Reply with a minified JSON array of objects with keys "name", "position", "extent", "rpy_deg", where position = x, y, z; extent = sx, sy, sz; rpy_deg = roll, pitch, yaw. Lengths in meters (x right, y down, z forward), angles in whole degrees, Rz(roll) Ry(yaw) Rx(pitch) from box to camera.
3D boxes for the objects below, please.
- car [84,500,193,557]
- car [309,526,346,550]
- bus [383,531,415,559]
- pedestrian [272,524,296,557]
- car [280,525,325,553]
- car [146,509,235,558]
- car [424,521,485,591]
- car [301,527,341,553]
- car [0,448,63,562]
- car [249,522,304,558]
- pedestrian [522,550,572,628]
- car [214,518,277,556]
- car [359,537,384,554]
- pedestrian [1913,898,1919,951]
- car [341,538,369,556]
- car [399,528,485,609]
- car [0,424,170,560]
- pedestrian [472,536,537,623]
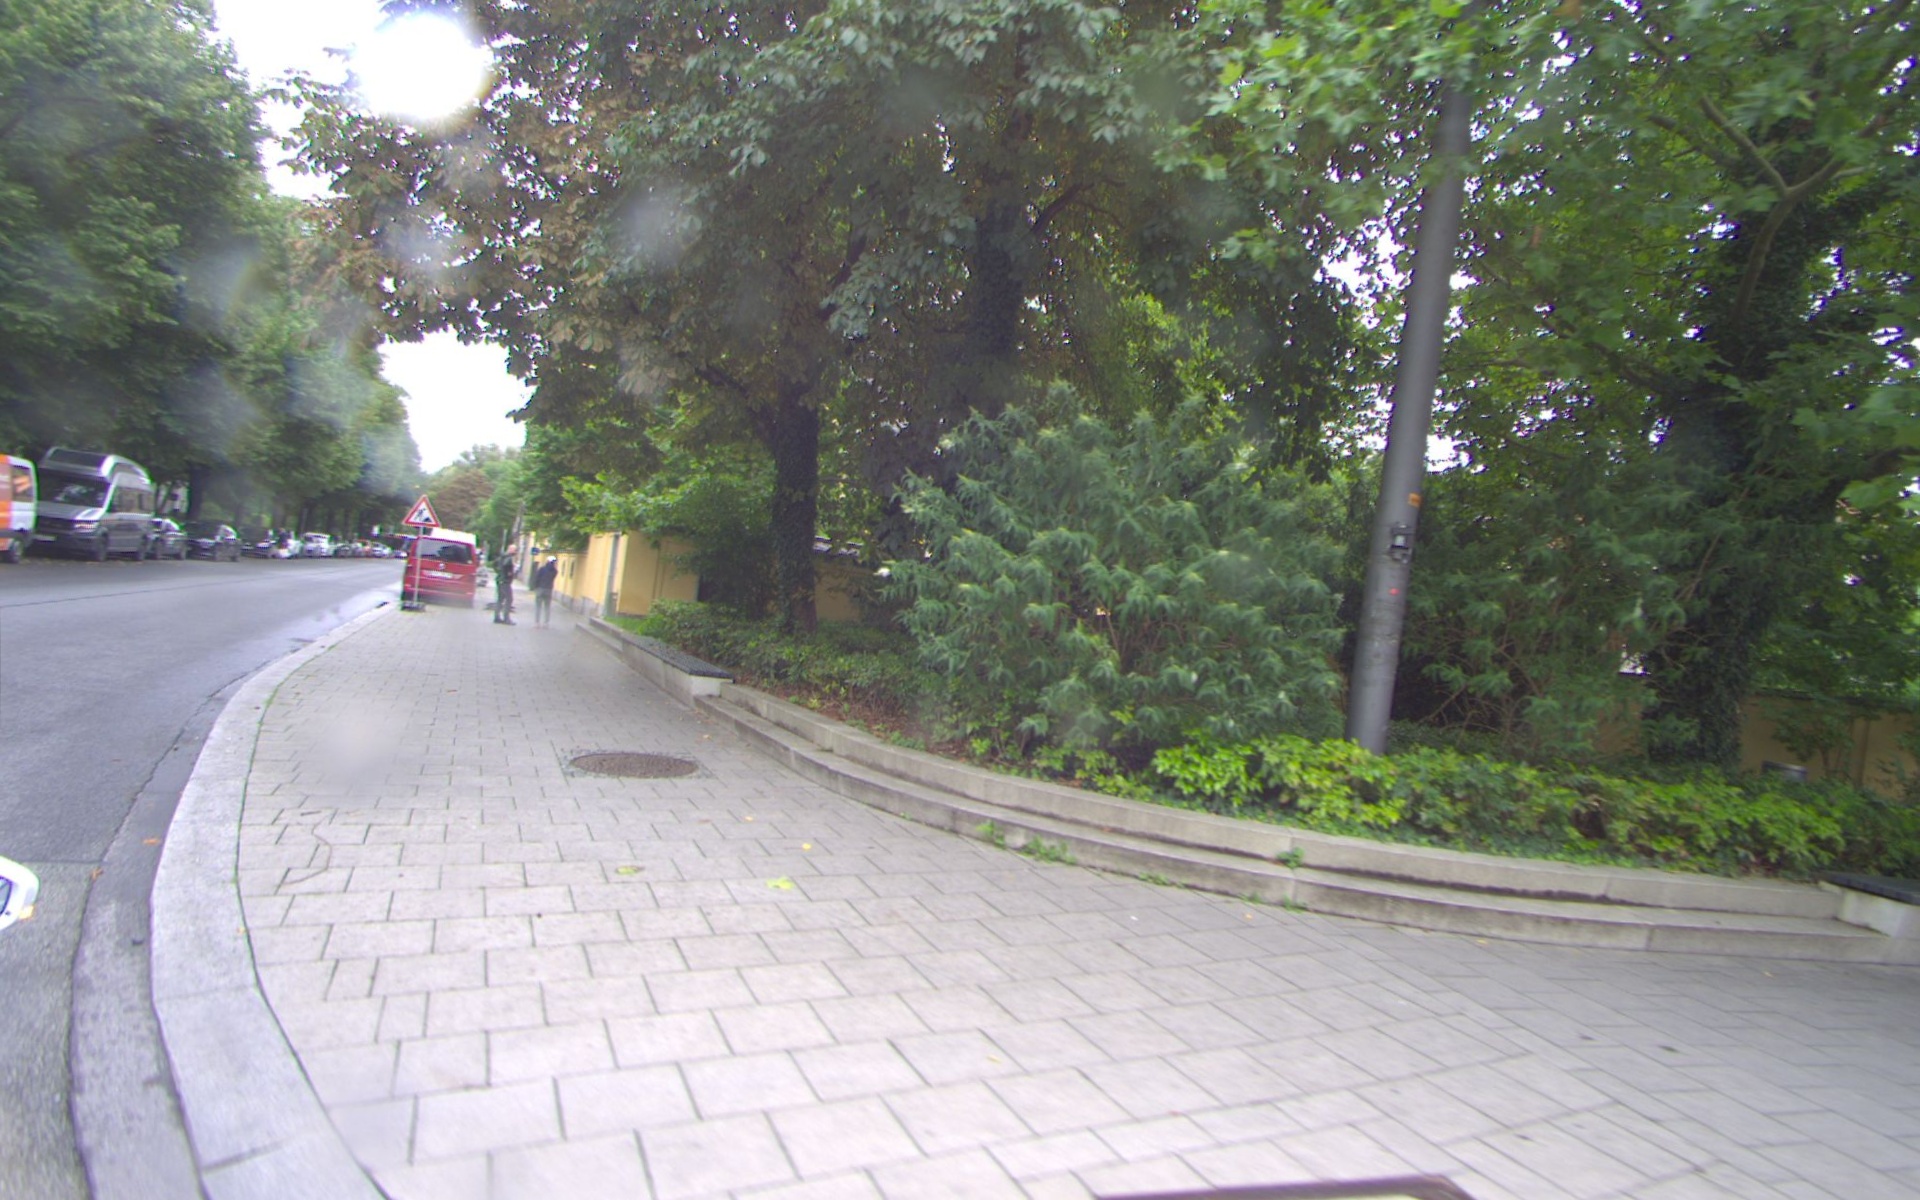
[{"name":"car","position":[-26.927,-2.314,33.125],"extent":[1.979,1.437,3.970],"rpy_deg":[9,-1,-29]},{"name":"car","position":[-47.077,-4.595,74.914],"extent":[1.979,1.437,3.970],"rpy_deg":[9,-1,-29]},{"name":"bus","position":[-70.905,-6.968,127.145],"extent":[2.918,2.953,8.170],"rpy_deg":[9,-1,-32]},{"name":"pedestrian","position":[-35.670,-3.148,53.118],"extent":[0.878,1.617,0.816],"rpy_deg":[8,0,-34]},{"name":"car","position":[-42.421,-3.951,64.990],"extent":[1.979,1.437,3.970],"rpy_deg":[9,-1,-29]},{"name":"car","position":[-29.114,-2.493,38.201],"extent":[1.979,1.437,4.098],"rpy_deg":[9,-1,-29]},{"name":"car","position":[-22.065,-1.921,43.999],"extent":[1.976,2.588,5.395],"rpy_deg":[8,-1,-26]},{"name":"car","position":[-44.653,-4.190,70.397],"extent":[1.979,1.437,3.970],"rpy_deg":[9,-1,-29]},{"name":"car","position":[-20.526,-2.037,20.244],"extent":[2.064,2.293,5.567],"rpy_deg":[6,0,-26]},{"name":"car","position":[-38.035,-3.314,56.059],"extent":[1.979,1.639,4.098],"rpy_deg":[9,-1,-29]},{"name":"pedestrian","position":[-9.510,-0.255,23.173],"extent":[0.687,1.687,0.632],"rpy_deg":[8,0,41]},{"name":"car","position":[-35.477,-3.111,50.056],"extent":[1.979,1.504,4.098],"rpy_deg":[9,-1,-29]},{"name":"car","position":[-60.849,-5.614,104.110],"extent":[1.979,1.437,3.970],"rpy_deg":[9,-1,-29]},{"name":"pedestrian","position":[6.960,1.711,6.274],"extent":[0.760,1.373,1.127],"rpy_deg":[8,0,-17]},{"name":"car","position":[-57.565,-5.061,95.749],"extent":[1.979,1.437,3.970],"rpy_deg":[9,-1,-29]},{"name":"car","position":[-15.405,-0.965,29.881],"extent":[1.896,1.959,4.933],"rpy_deg":[8,-1,-28]},{"name":"car","position":[-24.304,-2.812,28.013],"extent":[2.155,3.038,6.191],"rpy_deg":[8,-1,-27]},{"name":"pedestrian","position":[-10.502,-0.472,23.206],"extent":[0.937,1.858,0.820],"rpy_deg":[8,0,36]}]
